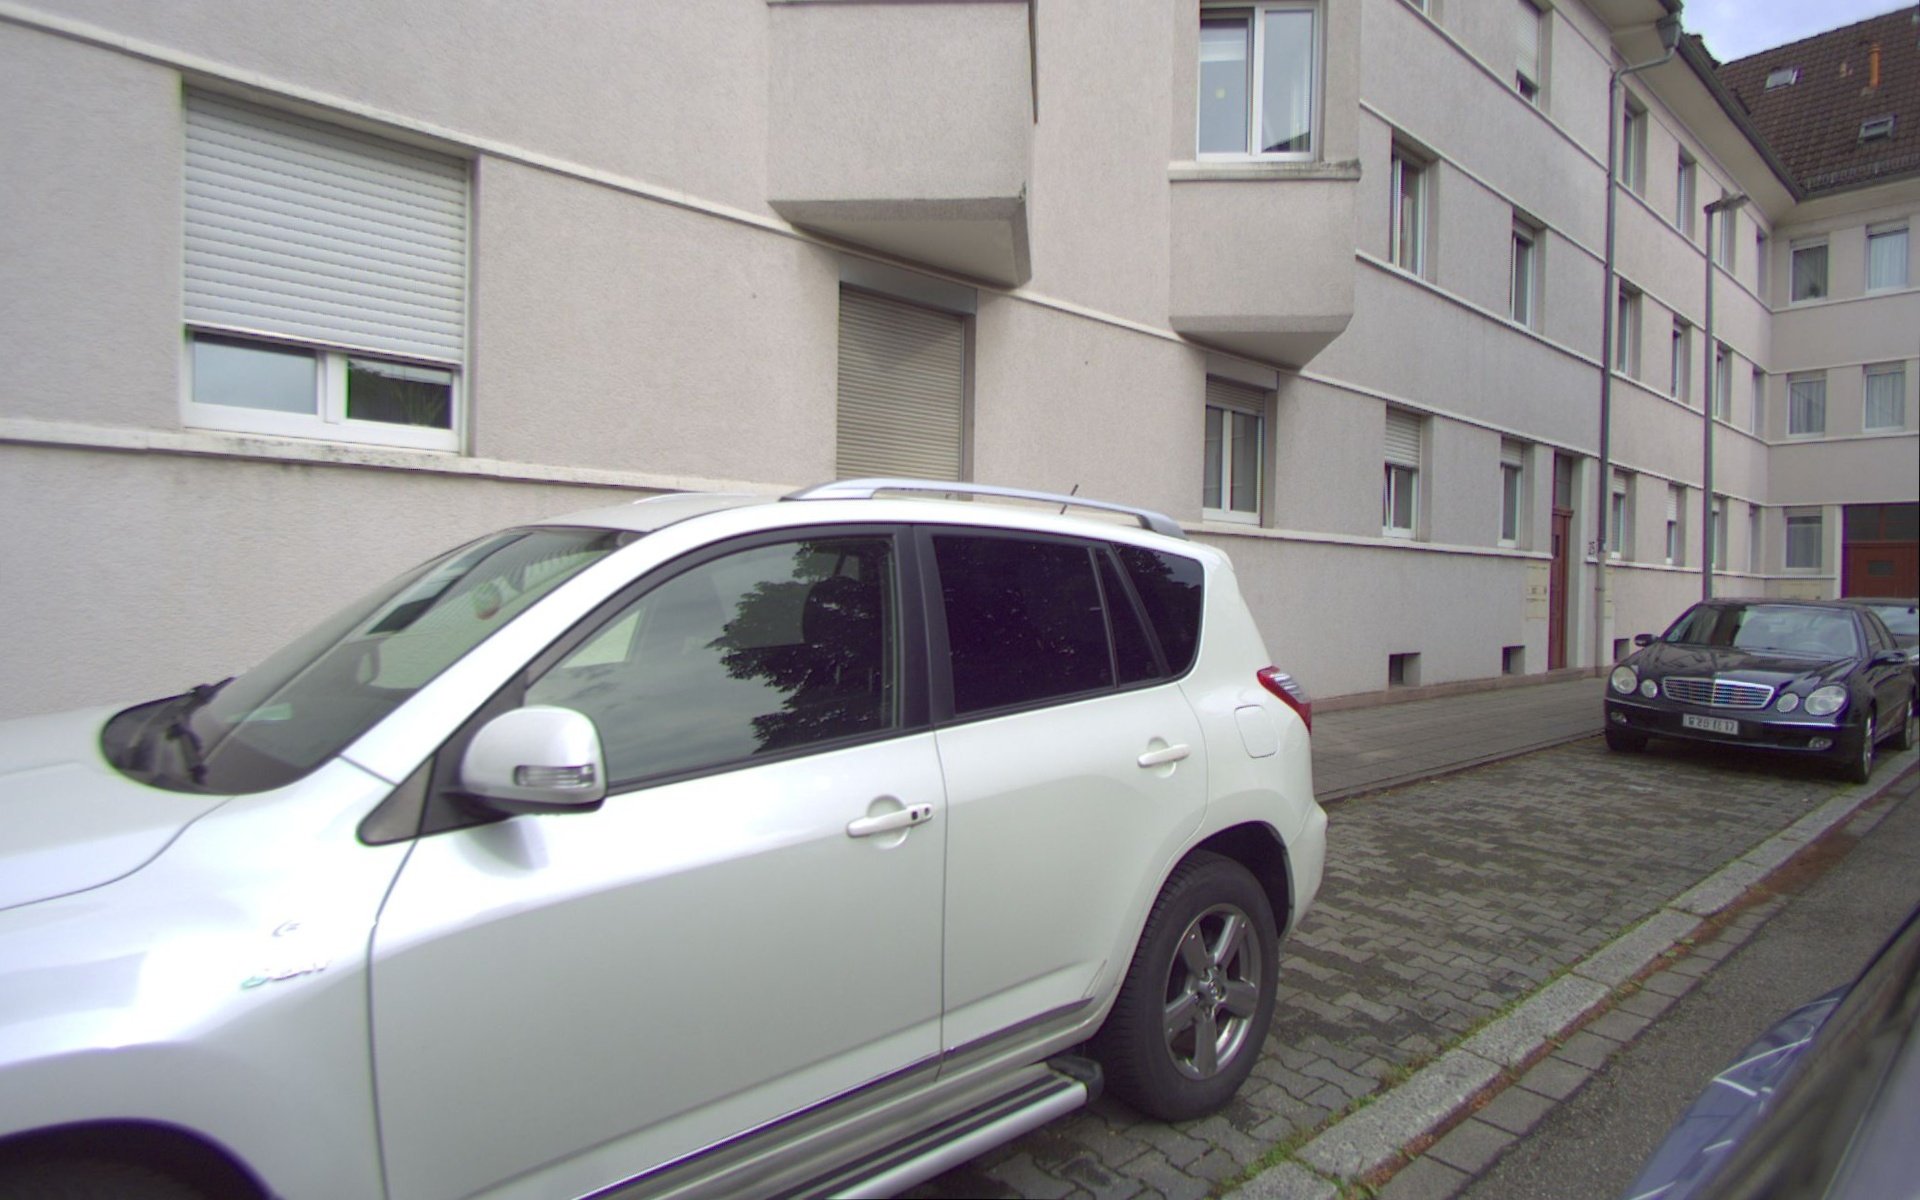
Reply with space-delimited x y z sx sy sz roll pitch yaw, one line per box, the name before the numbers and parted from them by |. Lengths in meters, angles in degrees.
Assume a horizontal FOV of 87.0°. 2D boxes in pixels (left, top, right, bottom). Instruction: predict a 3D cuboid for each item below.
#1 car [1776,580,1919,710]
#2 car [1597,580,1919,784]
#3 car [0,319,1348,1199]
car | 12.885 0.528 14.031 4.009 1.544 1.760 -1 3 -41
car | 7.902 0.609 9.668 4.863 1.438 1.748 1 2 -42
car | -0.963 0.493 2.510 4.215 1.694 1.846 0 2 -42
